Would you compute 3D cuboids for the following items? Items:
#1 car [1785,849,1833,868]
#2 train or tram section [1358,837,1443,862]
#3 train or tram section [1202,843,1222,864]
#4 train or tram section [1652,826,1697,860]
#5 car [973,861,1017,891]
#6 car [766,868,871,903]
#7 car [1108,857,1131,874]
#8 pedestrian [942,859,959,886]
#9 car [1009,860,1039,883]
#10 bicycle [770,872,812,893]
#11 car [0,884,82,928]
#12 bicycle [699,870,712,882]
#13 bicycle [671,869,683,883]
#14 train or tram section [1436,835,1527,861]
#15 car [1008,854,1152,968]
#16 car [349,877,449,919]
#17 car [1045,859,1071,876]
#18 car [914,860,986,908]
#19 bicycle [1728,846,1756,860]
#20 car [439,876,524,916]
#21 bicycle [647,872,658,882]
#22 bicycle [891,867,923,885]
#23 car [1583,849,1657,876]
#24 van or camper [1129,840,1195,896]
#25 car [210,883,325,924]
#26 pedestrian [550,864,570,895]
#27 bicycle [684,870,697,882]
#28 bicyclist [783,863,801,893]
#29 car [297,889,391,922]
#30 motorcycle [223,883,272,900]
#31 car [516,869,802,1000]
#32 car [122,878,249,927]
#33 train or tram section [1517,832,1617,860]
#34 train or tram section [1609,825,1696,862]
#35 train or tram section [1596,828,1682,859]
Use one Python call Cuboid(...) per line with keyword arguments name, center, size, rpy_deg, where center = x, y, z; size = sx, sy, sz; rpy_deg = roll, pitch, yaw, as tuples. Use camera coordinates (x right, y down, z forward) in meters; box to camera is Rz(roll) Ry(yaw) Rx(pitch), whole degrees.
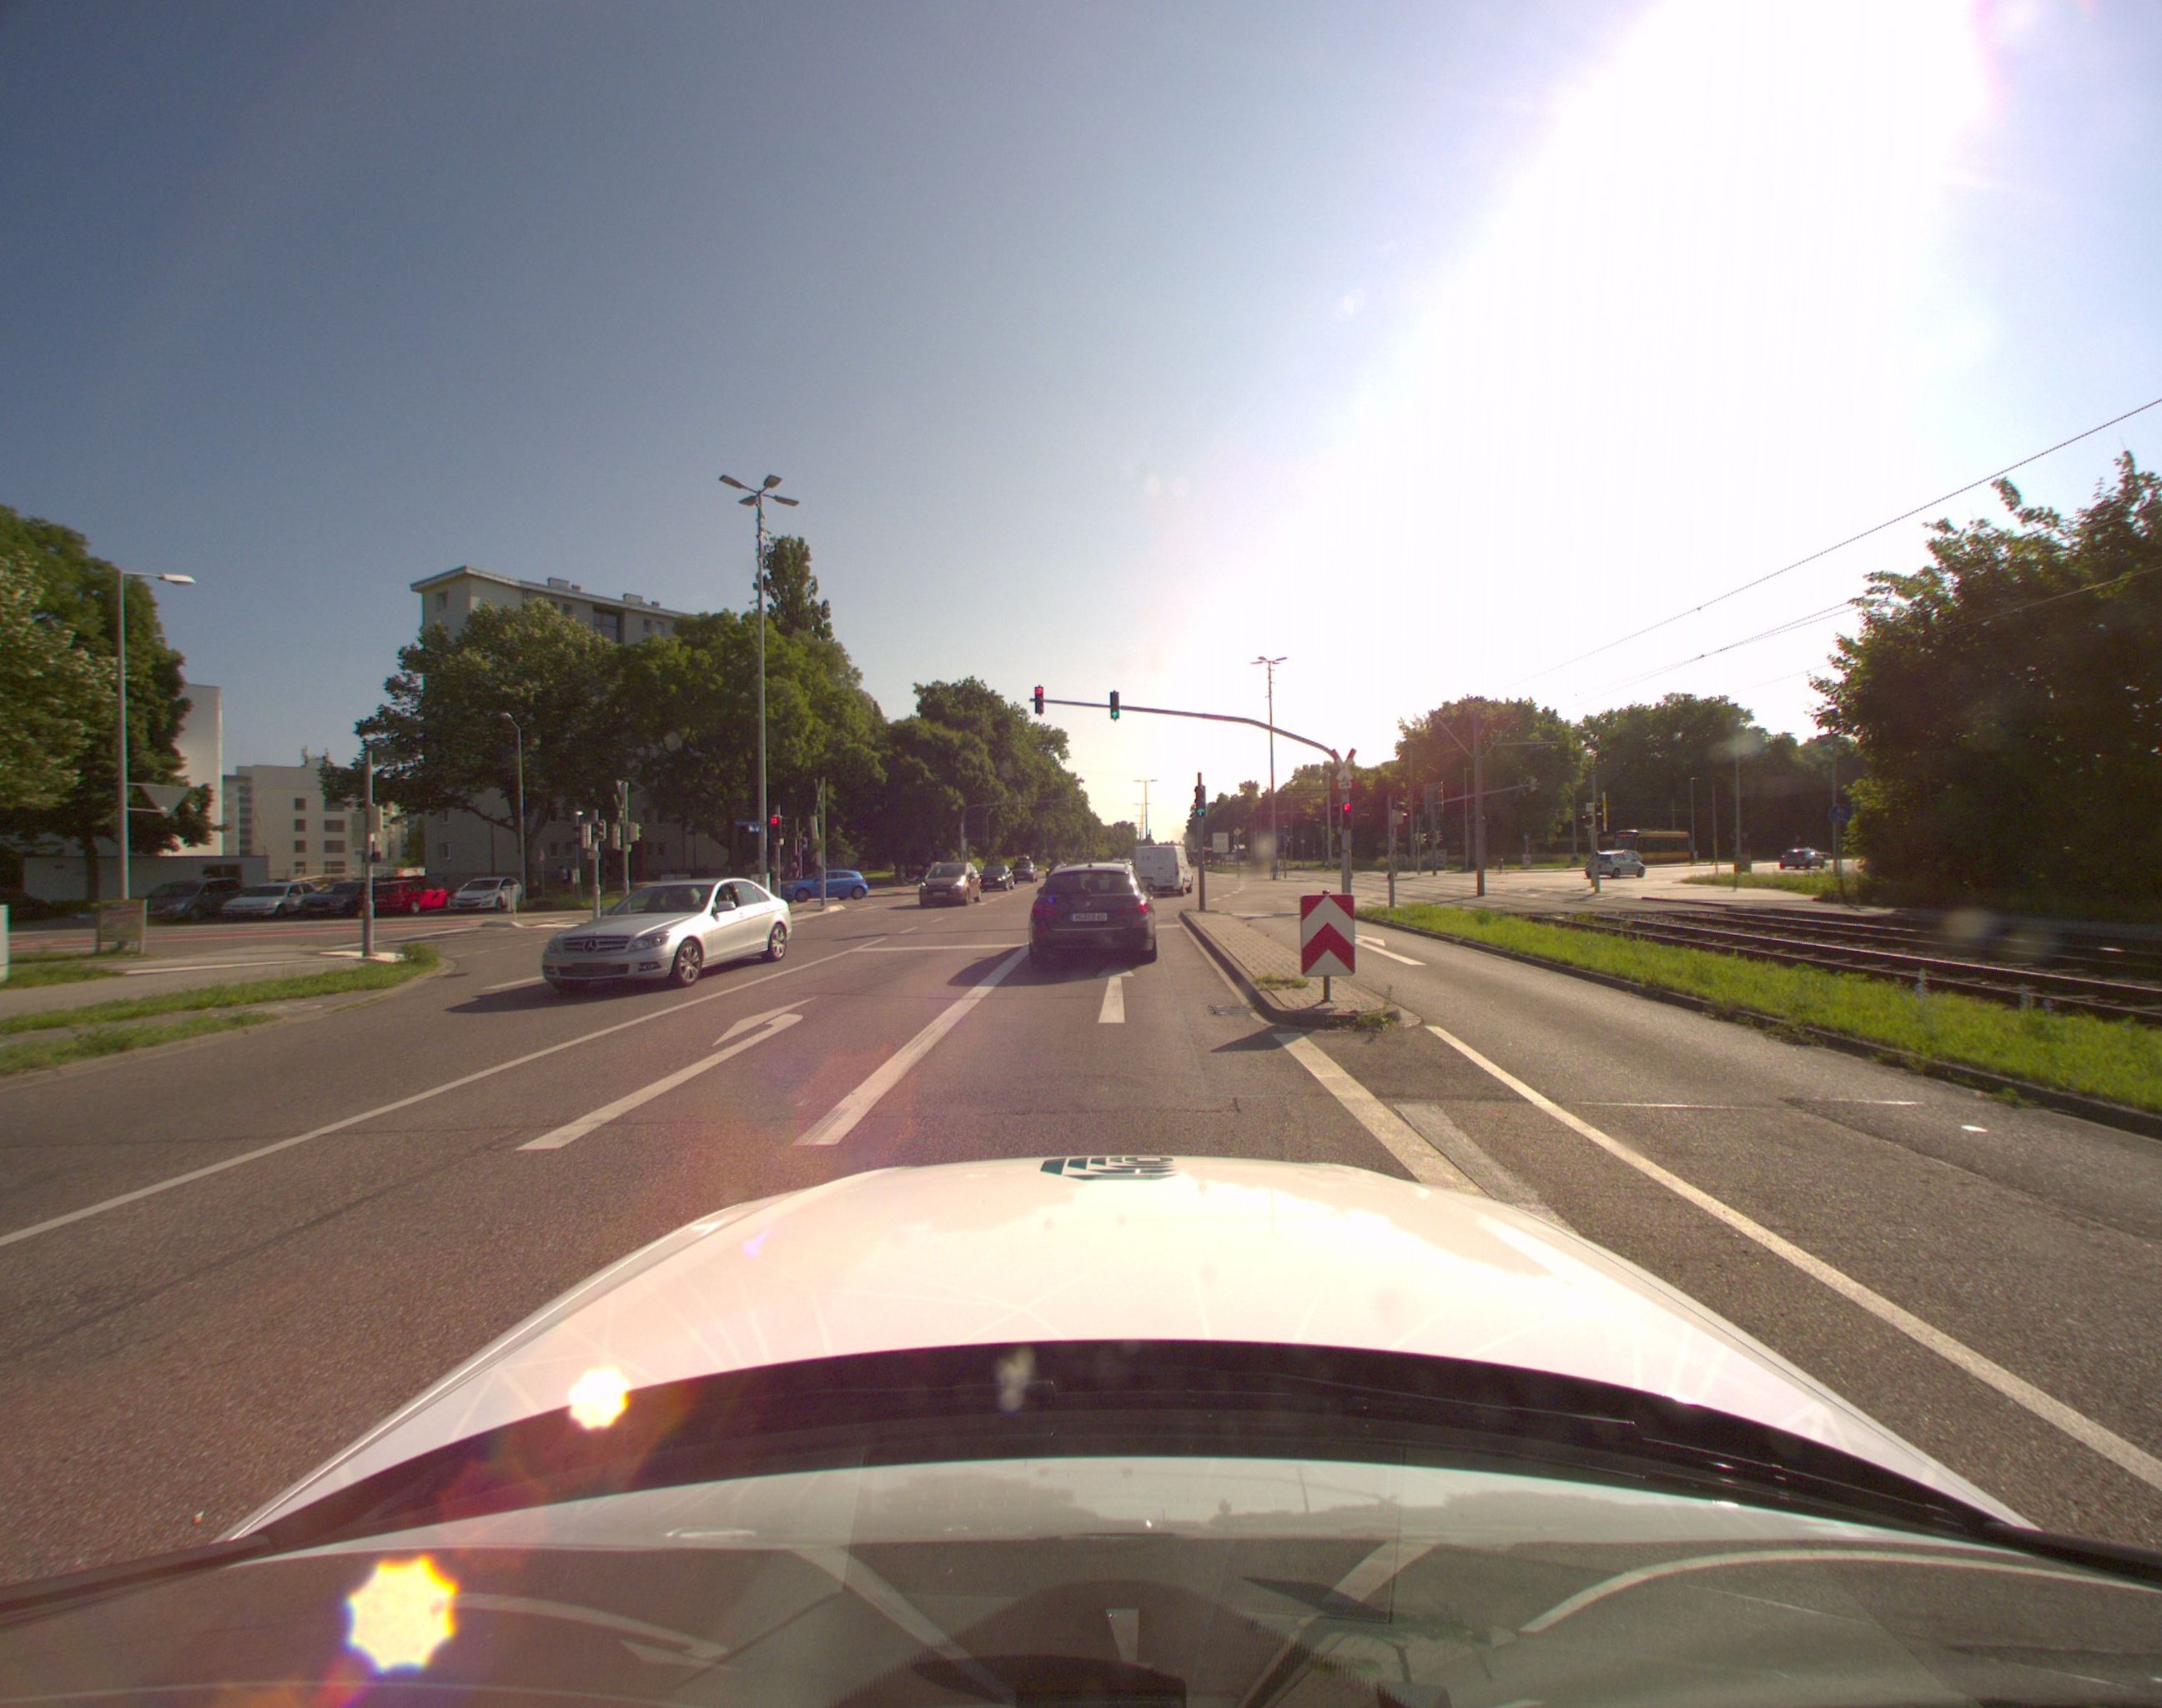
Cuboid(name="car", center=(54.144, 0.329, 60.550), size=(3.539, 1.383, 1.591), rpy_deg=(-1, -1, -29))
Cuboid(name="train or tram section", center=(51.379, -0.669, 131.197), size=(12.278, 3.579, 3.073), rpy_deg=(-1, -1, 33))
Cuboid(name="train or tram section", center=(23.336, 0.040, 145.530), size=(2.782, 3.618, 12.977), rpy_deg=(0, -1, 6))
Cuboid(name="train or tram section", center=(66.772, -1.159, 91.800), size=(3.015, 3.579, 12.307), rpy_deg=(-1, 0, 31))
Cuboid(name="car", center=(-4.634, 1.179, 44.588), size=(1.882, 1.474, 4.100), rpy_deg=(-2, 0, 0))
Cuboid(name="car", center=(-12.081, 1.402, 37.584), size=(4.268, 1.414, 1.763), rpy_deg=(-1, -1, -43))
Cuboid(name="car", center=(3.473, 1.014, 72.528), size=(1.821, 1.431, 4.736), rpy_deg=(-2, 0, 4))
Cuboid(name="pedestrian", center=(-8.449, 1.207, 52.796), size=(0.811, 1.752, 0.933), rpy_deg=(-1, 0, 8))
Cuboid(name="car", center=(-4.177, 1.265, 60.105), size=(1.783, 1.520, 4.000), rpy_deg=(-2, 0, 0))
Cuboid(name="bicycle", center=(-15.262, 1.507, 42.896), size=(0.613, 1.040, 2.085), rpy_deg=(-1, -1, 33))
Cuboid(name="car", center=(-44.162, 2.163, 33.320), size=(1.784, 1.477, 4.785), rpy_deg=(-1, 2, -18))
Cuboid(name="bicycle", center=(-30.560, 1.768, 66.227), size=(0.673, 0.919, 2.382), rpy_deg=(-1, 0, -32))
Cuboid(name="bicycle", center=(-32.224, 1.765, 64.937), size=(0.615, 1.066, 1.897), rpy_deg=(0, -3, -34))
Cuboid(name="train or tram section", center=(60.932, -0.872, 124.225), size=(12.072, 3.579, 3.073), rpy_deg=(-1, -1, 38))
Cuboid(name="car", center=(0.155, 0.786, 12.988), size=(1.894, 1.506, 4.071), rpy_deg=(-1, 0, 5))
Cuboid(name="car", center=(-30.560, 1.932, 36.659), size=(1.782, 1.415, 3.983), rpy_deg=(-1, 3, -13))
Cuboid(name="car", center=(-2.347, 1.357, 83.709), size=(1.979, 1.659, 4.392), rpy_deg=(-1, 0, 6))
Cuboid(name="car", center=(-4.754, 1.037, 30.061), size=(1.738, 1.562, 4.003), rpy_deg=(-3, 0, 3))
Cuboid(name="bicycle", center=(80.832, -0.090, 99.581), size=(0.798, 1.713, 2.586), rpy_deg=(-1, 0, -33))
Cuboid(name="car", center=(-27.628, 1.872, 37.712), size=(1.782, 1.439, 3.981), rpy_deg=(-1, 3, -15))
Cuboid(name="bicycle", center=(-33.826, 1.816, 64.279), size=(0.587, 0.708, 2.216), rpy_deg=(-1, 0, -32))
Cuboid(name="bicycle", center=(-11.276, 1.397, 52.922), size=(1.901, 1.119, 0.632), rpy_deg=(-1, -1, 2))
Cuboid(name="car", center=(32.729, 0.491, 49.441), size=(4.212, 1.563, 1.840), rpy_deg=(-1, 0, -26))
Cuboid(name="van or camper", center=(3.356, 0.552, 33.060), size=(1.979, 2.096, 4.615), rpy_deg=(-1, 0, 14))
Cuboid(name="car", center=(-35.195, 2.115, 35.381), size=(1.783, 1.521, 3.978), rpy_deg=(-1, 0, -16))
Cuboid(name="pedestrian", center=(-29.689, 1.433, 46.391), size=(0.619, 1.713, 0.707), rpy_deg=(-1, 0, 14))
Cuboid(name="bicycle", center=(-31.476, 1.782, 65.645), size=(0.678, 0.875, 2.460), rpy_deg=(-1, 0, -32))
Cuboid(name="bicyclist", center=(-15.245, 1.270, 42.928), size=(0.601, 1.560, 0.606), rpy_deg=(-2, -1, 34))
Cuboid(name="car", center=(-32.549, 2.244, 36.092), size=(1.463, 1.193, 3.768), rpy_deg=(-1, 0, -14))
Cuboid(name="motorcycle", center=(-51.925, 2.330, 50.746), size=(0.520, 0.965, 2.057), rpy_deg=(-1, 0, 36))
Cuboid(name="car", center=(-5.928, 1.030, 12.158), size=(1.695, 1.465, 4.374), rpy_deg=(-3, 0, 4))
Cuboid(name="car", center=(-37.846, 1.999, 34.570), size=(1.783, 1.811, 3.978), rpy_deg=(-1, 0, -16))
Cuboid(name="train or tram section", center=(68.191, -1.061, 114.778), size=(3.064, 3.579, 12.109), rpy_deg=(-1, -1, -31))
Cuboid(name="train or tram section", center=(58.399, -1.081, 83.059), size=(11.896, 3.579, 3.022), rpy_deg=(-1, -1, -33))
Cuboid(name="train or tram section", center=(70.421, -1.224, 103.252), size=(3.031, 3.579, 12.242), rpy_deg=(-1, 0, 4))
